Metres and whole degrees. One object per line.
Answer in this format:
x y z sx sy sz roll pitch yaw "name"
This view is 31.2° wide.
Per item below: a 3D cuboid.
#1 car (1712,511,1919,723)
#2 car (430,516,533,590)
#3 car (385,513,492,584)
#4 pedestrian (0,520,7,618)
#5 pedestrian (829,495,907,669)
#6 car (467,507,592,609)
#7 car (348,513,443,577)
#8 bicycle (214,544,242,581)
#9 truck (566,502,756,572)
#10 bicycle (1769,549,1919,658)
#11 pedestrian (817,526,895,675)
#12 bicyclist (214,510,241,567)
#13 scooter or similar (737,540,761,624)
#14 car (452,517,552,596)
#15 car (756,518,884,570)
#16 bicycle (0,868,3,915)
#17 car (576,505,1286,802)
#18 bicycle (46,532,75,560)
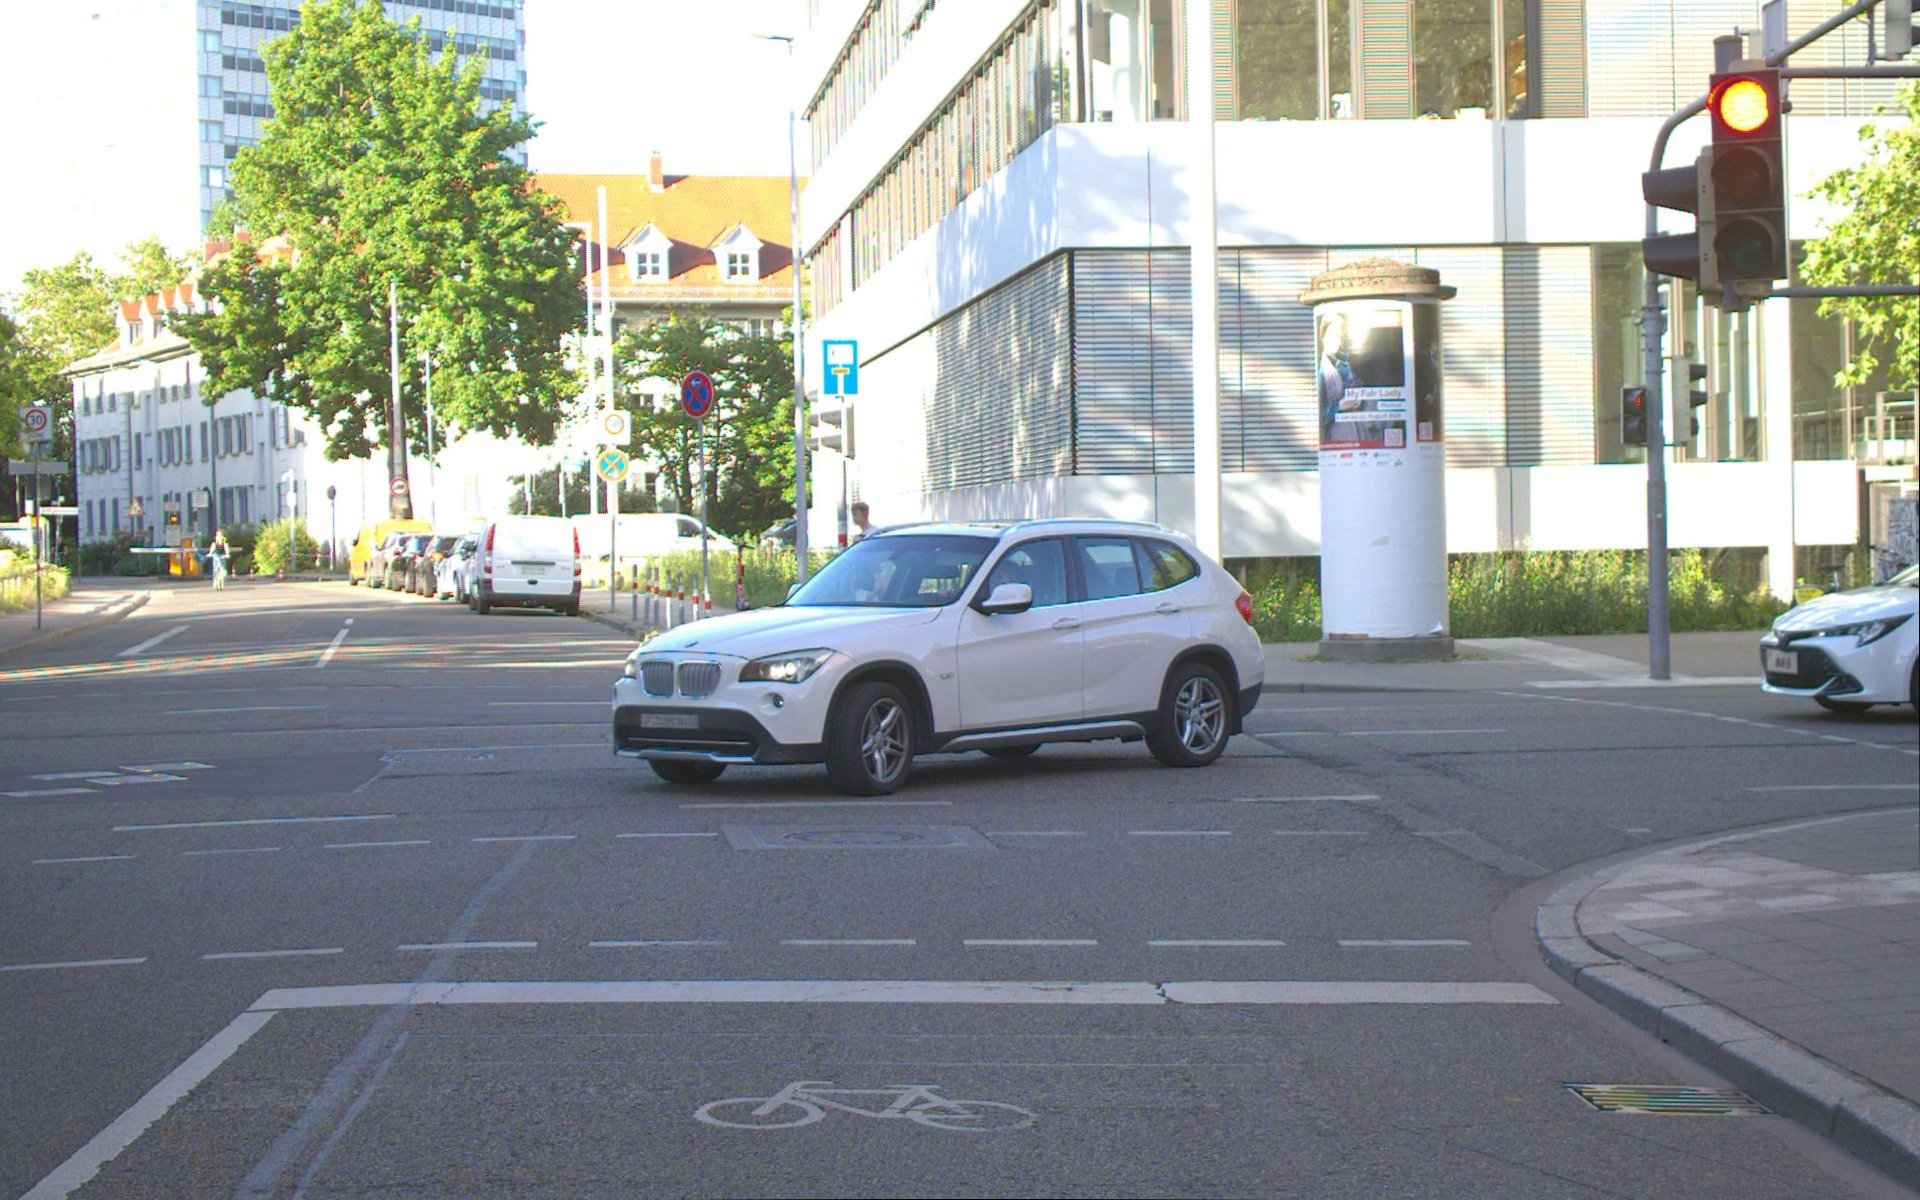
8.082 0.063 25.424 4.529 1.471 1.893 -1 1 -11 "car"
-10.923 -1.096 78.319 1.888 1.550 4.417 -1 2 -13 "car"
-13.007 -1.311 85.566 1.888 1.650 4.417 -1 2 -19 "car"
-17.121 -0.529 60.196 0.703 1.717 0.955 -3 1 -20 "pedestrian"
-1.008 -0.203 37.812 0.560 1.844 0.677 -3 2 16 "pedestrian"
-8.131 -0.824 64.631 2.084 1.789 4.417 -1 2 -10 "car"
-15.702 -1.551 95.501 1.888 1.650 4.417 -1 2 -19 "car"
-19.869 -1.030 93.335 0.615 0.966 1.842 -2 1 -9 "bicycle"
-8.969 -1.890 103.056 5.336 2.007 2.001 -1 1 -19 "truck"
9.307 0.025 36.042 0.507 1.045 1.687 -4 5 -35 "bicycle"
-1.122 -0.001 36.884 0.559 1.535 0.677 -5 2 -18 "pedestrian"
-19.882 -1.672 93.335 0.615 1.527 0.903 -2 1 -9 "bicyclist"
-3.594 -0.312 58.576 0.330 1.419 1.335 1 0 -6 "scooter or similar"
-9.750 -0.951 72.948 1.888 1.550 4.417 -1 2 -10 "car"
-4.254 -1.706 104.244 3.554 1.541 1.559 -1 1 -19 "car"
-4.375 0.888 13.418 0.685 0.921 1.766 -3 1 2 "bicycle"
-0.083 0.240 20.617 4.263 1.577 1.690 -2 2 -44 "car"
-34.062 -2.049 130.191 0.865 1.006 2.415 -4 1 -11 "bicycle"
